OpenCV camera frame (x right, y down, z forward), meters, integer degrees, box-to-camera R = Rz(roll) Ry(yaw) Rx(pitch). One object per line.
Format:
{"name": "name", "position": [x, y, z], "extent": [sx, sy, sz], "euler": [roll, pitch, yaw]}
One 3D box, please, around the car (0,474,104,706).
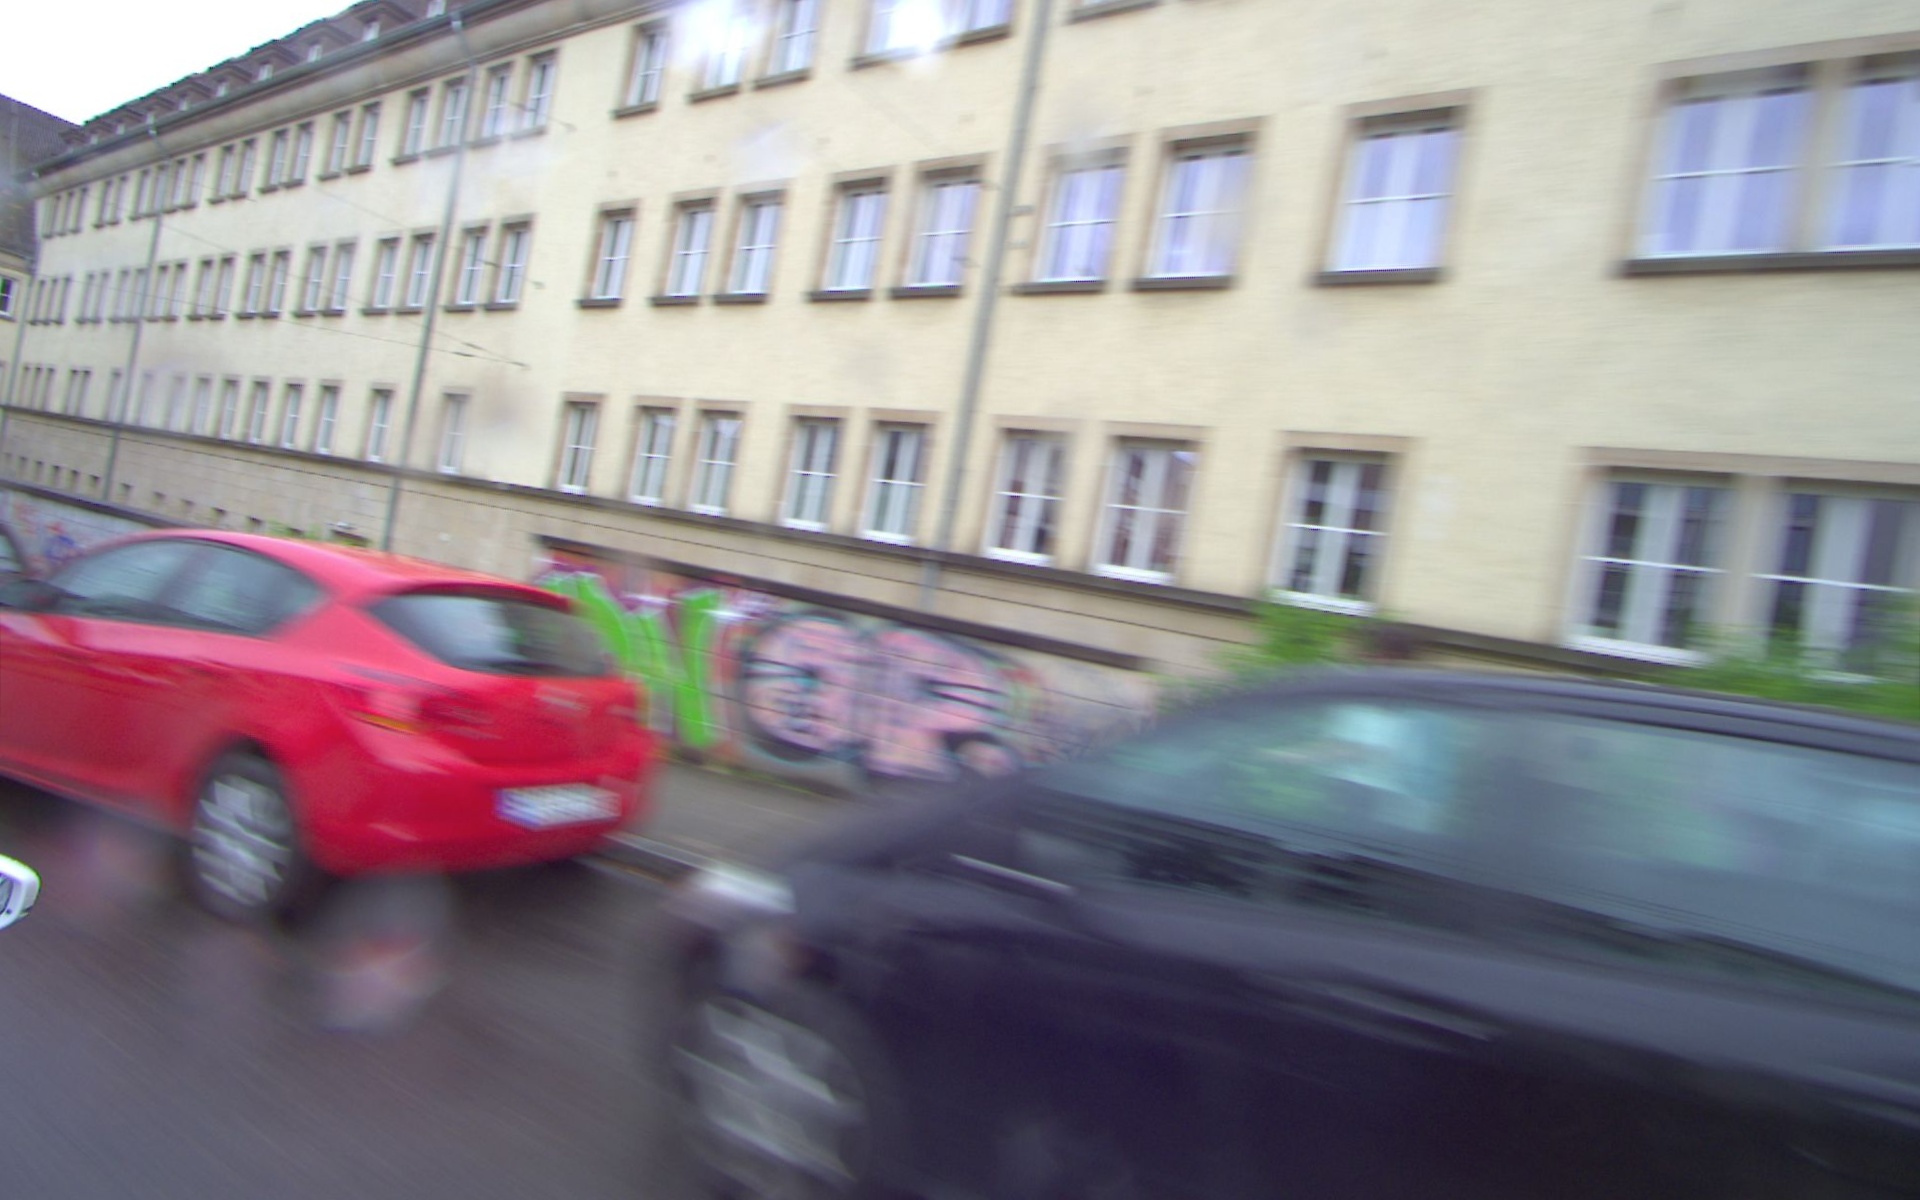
{"name": "car", "position": [-8.269, -0.345, 7.209], "extent": [4.380, 1.494, 1.669], "euler": [8, 0, 28]}

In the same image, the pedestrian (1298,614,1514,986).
{"name": "pedestrian", "position": [2.436, 1.028, 5.478], "extent": [0.727, 1.776, 0.718], "euler": [8, 0, 37]}

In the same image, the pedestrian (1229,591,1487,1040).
{"name": "pedestrian", "position": [1.833, 0.915, 4.613], "extent": [0.727, 1.776, 0.718], "euler": [8, 0, 37]}

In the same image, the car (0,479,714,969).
{"name": "car", "position": [-3.464, 0.371, 5.049], "extent": [3.992, 1.493, 1.672], "euler": [8, -2, 24]}

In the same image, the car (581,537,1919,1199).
{"name": "car", "position": [1.144, 0.911, 2.500], "extent": [3.788, 1.592, 1.669], "euler": [8, 0, 28]}
